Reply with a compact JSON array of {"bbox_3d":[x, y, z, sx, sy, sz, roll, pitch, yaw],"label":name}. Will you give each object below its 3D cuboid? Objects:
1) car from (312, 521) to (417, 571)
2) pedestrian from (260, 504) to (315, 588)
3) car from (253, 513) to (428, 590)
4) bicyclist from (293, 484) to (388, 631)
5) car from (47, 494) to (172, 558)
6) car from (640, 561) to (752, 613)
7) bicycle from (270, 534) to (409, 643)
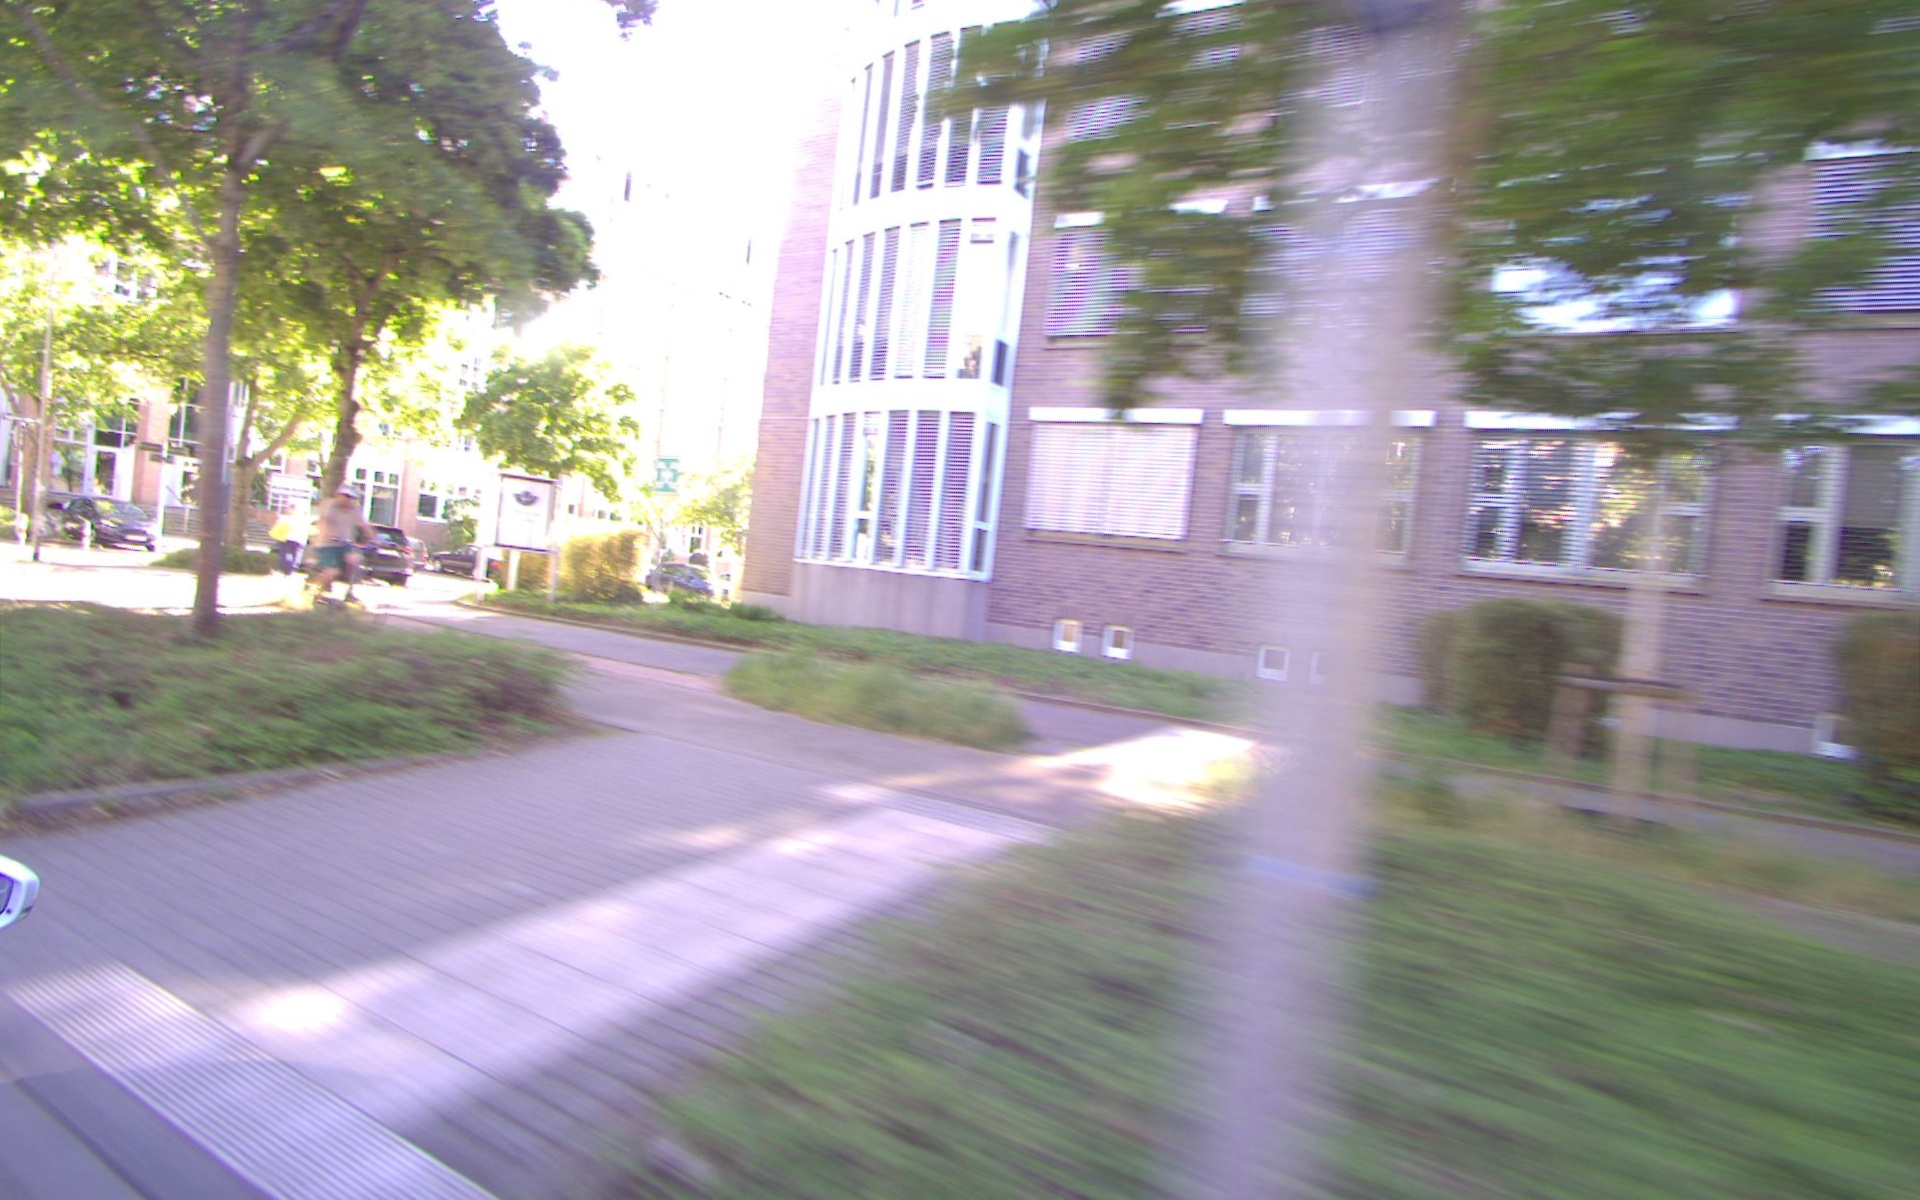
[{"bbox_3d":[-22.915,-2.097,38.654,4.202,1.479,1.690,7,1,33],"label":"car"},{"bbox_3d":[-13.675,-1.098,20.452,0.636,1.602,0.539,7,2,20],"label":"pedestrian"},{"bbox_3d":[-15.768,-1.244,25.576,4.290,1.584,1.741,4,-1,27],"label":"car"},{"bbox_3d":[-7.400,-0.503,12.015,0.808,1.657,0.537,7,2,30],"label":"bicyclist"},{"bbox_3d":[-26.310,-2.288,31.108,3.850,1.481,1.654,7,1,30],"label":"car"},{"bbox_3d":[-9.524,-0.468,36.211,3.939,1.604,1.699,3,-2,36],"label":"car"},{"bbox_3d":[-7.427,-0.148,12.014,1.887,1.092,0.534,7,2,31],"label":"bicycle"}]
